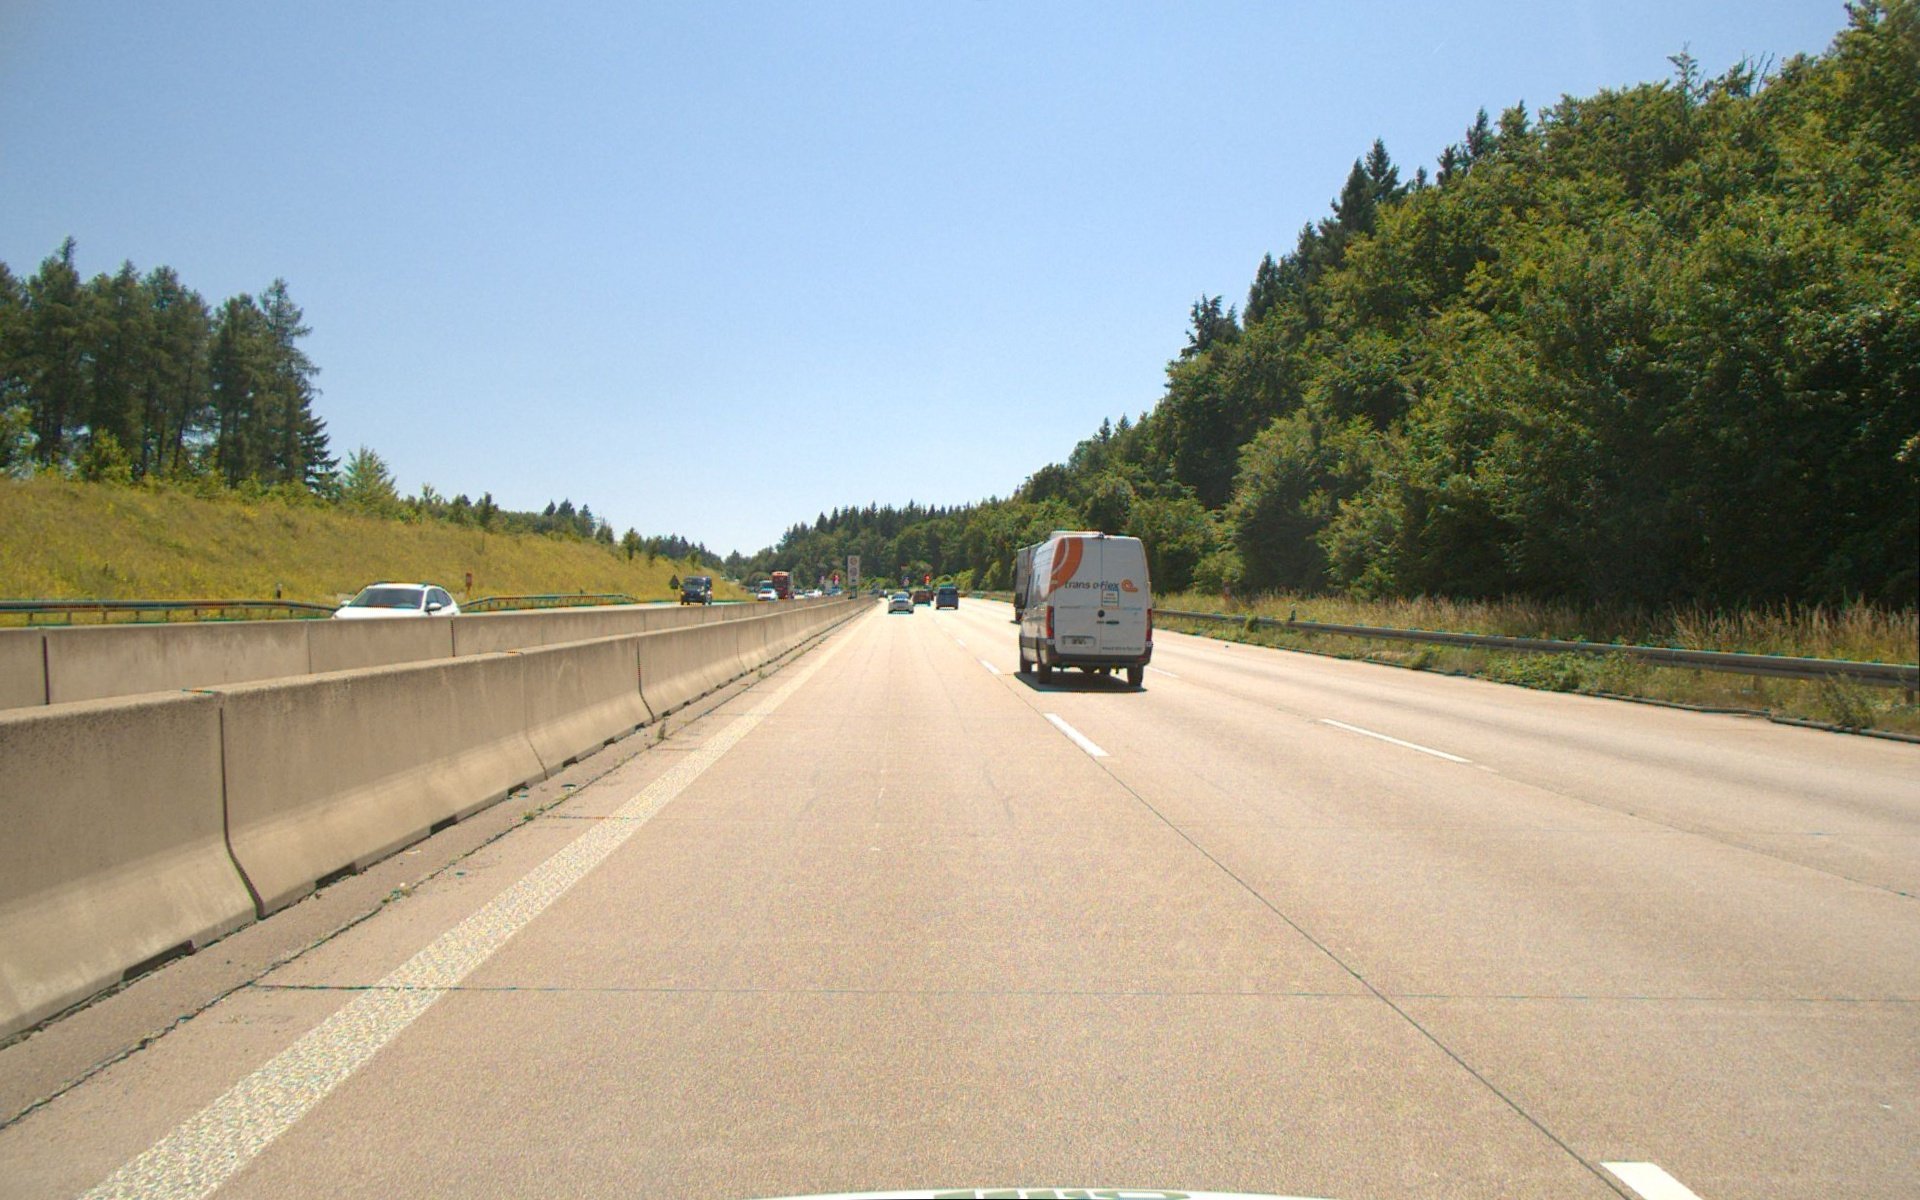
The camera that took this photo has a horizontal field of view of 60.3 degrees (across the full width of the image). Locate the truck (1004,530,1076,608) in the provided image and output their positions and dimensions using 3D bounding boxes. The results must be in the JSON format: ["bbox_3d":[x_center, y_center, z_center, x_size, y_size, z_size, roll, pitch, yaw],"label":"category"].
[{"bbox_3d":[4.389,-1.662,92.642,3.096,4.087,10.603,-1,0,-2],"label":"truck"}]

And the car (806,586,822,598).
[{"bbox_3d":[-20.129,-1.169,228.195,1.953,1.591,3.998,1,0,-2],"label":"car"}]

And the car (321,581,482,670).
[{"bbox_3d":[-11.148,0.485,33.341,1.954,1.633,4.408,1,0,-4],"label":"car"}]

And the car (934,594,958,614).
[{"bbox_3d":[-1.206,0.345,142.016,1.953,1.713,3.999,1,0,-1],"label":"car"}]

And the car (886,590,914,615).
[{"bbox_3d":[-4.302,0.172,118.932,1.954,1.713,3.998,1,0,-3],"label":"car"}]

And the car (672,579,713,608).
[{"bbox_3d":[-21.896,-0.526,135.550,2.431,2.248,6.456,1,0,-2],"label":"car"}]

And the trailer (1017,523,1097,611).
[{"bbox_3d":[4.760,-1.599,82.801,3.072,4.087,9.084,-1,0,-2],"label":"trailer"}]

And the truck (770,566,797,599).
[{"bbox_3d":[-25.020,-2.421,234.672,3.319,4.509,6.798,1,0,-2],"label":"truck"}]

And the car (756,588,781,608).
[{"bbox_3d":[-18.311,-0.248,158.159,1.968,1.839,4.852,1,0,-2],"label":"car"}]

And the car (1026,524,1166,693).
[{"bbox_3d":[2.474,0.100,31.417,2.181,2.893,5.454,-1,1,0],"label":"car"}]
